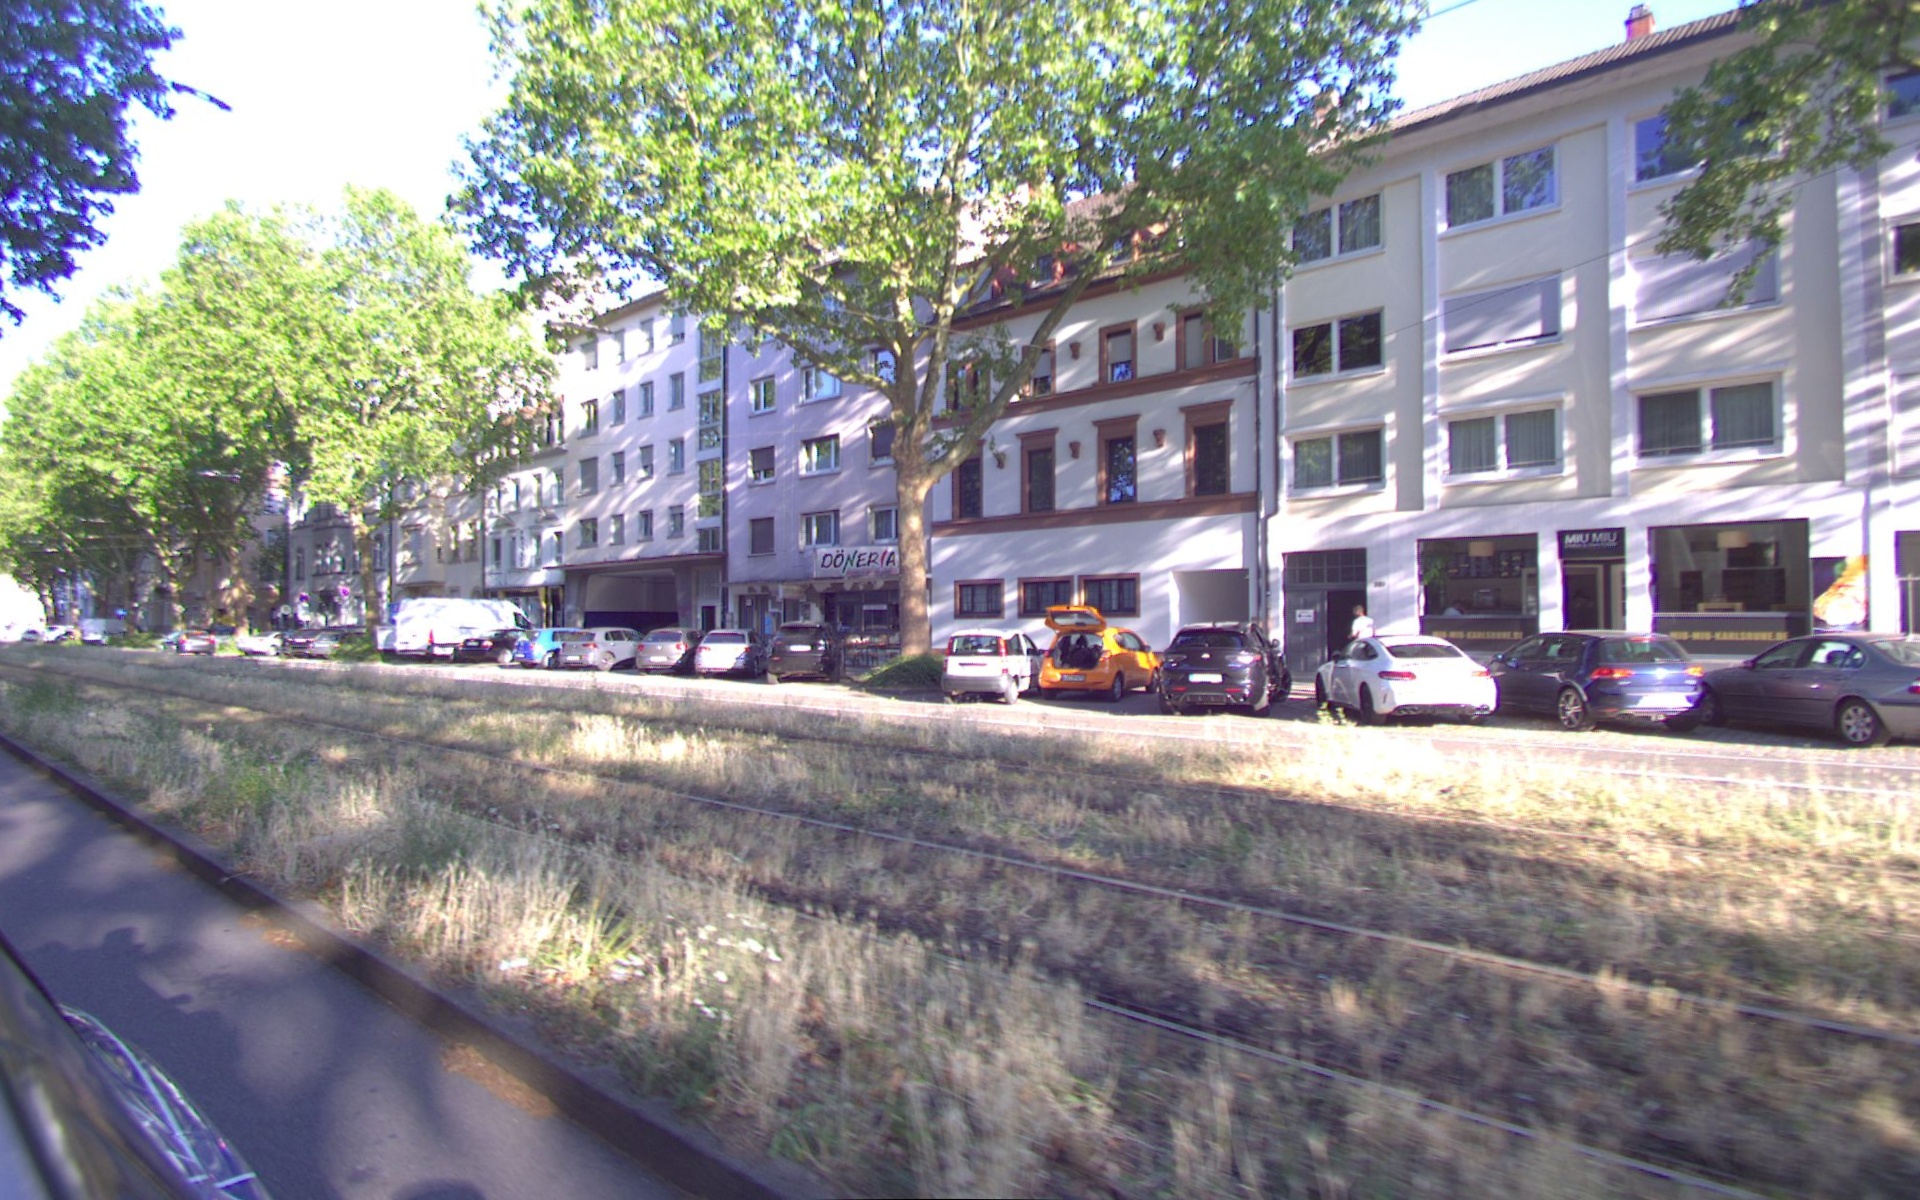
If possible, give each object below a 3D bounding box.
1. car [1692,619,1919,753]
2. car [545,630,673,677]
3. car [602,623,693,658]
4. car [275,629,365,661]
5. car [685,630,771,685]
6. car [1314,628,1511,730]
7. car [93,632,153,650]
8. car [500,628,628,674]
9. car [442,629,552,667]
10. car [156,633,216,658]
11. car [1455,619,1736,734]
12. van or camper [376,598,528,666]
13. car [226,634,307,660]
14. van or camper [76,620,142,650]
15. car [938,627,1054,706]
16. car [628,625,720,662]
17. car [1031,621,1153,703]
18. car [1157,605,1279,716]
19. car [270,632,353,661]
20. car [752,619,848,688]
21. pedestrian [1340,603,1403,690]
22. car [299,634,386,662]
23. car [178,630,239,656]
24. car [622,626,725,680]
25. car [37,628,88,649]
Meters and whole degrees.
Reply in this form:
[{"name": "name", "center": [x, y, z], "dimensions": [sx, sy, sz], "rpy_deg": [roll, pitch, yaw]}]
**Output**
[{"name": "car", "center": [12.132, 1.049, 13.560], "dimensions": [1.698, 1.452, 3.999], "rpy_deg": [-1, 0, 0]}, {"name": "car", "center": [-12.067, 1.808, 35.069], "dimensions": [1.941, 1.503, 3.962], "rpy_deg": [-1, -2, 27]}, {"name": "car", "center": [-15.728, 2.021, 51.125], "dimensions": [1.998, 1.553, 3.948], "rpy_deg": [-1, 0, 39]}, {"name": "car", "center": [-33.736, 2.426, 53.501], "dimensions": [1.912, 1.605, 4.154], "rpy_deg": [0, -4, 4]}, {"name": "car", "center": [-6.837, 1.652, 30.194], "dimensions": [1.884, 1.396, 4.003], "rpy_deg": [-1, -1, -4]}, {"name": "car", "center": [7.415, 1.225, 17.054], "dimensions": [1.700, 1.343, 4.199], "rpy_deg": [-1, 0, 5]}, {"name": "car", "center": [-73.720, 3.612, 89.227], "dimensions": [1.710, 1.256, 3.992], "rpy_deg": [-1, 1, 7]}, {"name": "car", "center": [-14.336, 1.810, 36.809], "dimensions": [1.855, 1.431, 3.950], "rpy_deg": [-1, 0, 37]}, {"name": "car", "center": [-19.113, 1.964, 41.992], "dimensions": [1.984, 1.502, 3.974], "rpy_deg": [-1, -2, 19]}, {"name": "car", "center": [-44.713, 2.609, 58.445], "dimensions": [4.481, 1.400, 1.801], "rpy_deg": [-2, -4, 41]}, {"name": "car", "center": [9.772, 1.097, 15.998], "dimensions": [1.776, 1.452, 4.001], "rpy_deg": [-1, 0, -2]}, {"name": "van or camper", "center": [-21.466, 1.359, 43.140], "dimensions": [2.163, 2.666, 5.927], "rpy_deg": [-1, -2, 20]}, {"name": "car", "center": [-39.923, 2.673, 58.385], "dimensions": [1.806, 1.400, 3.669], "rpy_deg": [-1, -2, 10]}, {"name": "van or camper", "center": [-76.011, 3.087, 90.463], "dimensions": [2.171, 2.418, 4.363], "rpy_deg": [-1, 1, 1]}, {"name": "car", "center": [0.890, 1.365, 22.142], "dimensions": [1.643, 1.460, 4.343], "rpy_deg": [-1, -1, 14]}, {"name": "car", "center": [-13.932, 2.106, 49.466], "dimensions": [1.904, 1.733, 3.947], "rpy_deg": [-1, -2, 40]}, {"name": "car", "center": [2.992, 1.285, 22.210], "dimensions": [1.764, 1.490, 3.972], "rpy_deg": [-1, 0, 21]}, {"name": "car", "center": [4.848, 1.121, 18.994], "dimensions": [1.976, 1.800, 4.342], "rpy_deg": [0, -3, 15]}, {"name": "car", "center": [-35.897, 2.610, 56.160], "dimensions": [1.803, 1.545, 3.993], "rpy_deg": [0, -3, 5]}, {"name": "car", "center": [-4.254, 1.389, 27.539], "dimensions": [1.972, 1.673, 3.999], "rpy_deg": [-1, -1, 0]}, {"name": "pedestrian", "center": [9.265, 1.031, 22.809], "dimensions": [0.887, 1.914, 0.954], "rpy_deg": [0, -1, -16]}, {"name": "car", "center": [-31.237, 2.445, 51.363], "dimensions": [1.779, 1.368, 4.001], "rpy_deg": [0, -3, 4]}, {"name": "car", "center": [-51.492, 2.927, 69.420], "dimensions": [1.703, 1.666, 4.007], "rpy_deg": [-1, -2, -9]}, {"name": "car", "center": [-9.043, 1.643, 32.261], "dimensions": [1.735, 1.433, 3.992], "rpy_deg": [-1, 0, 7]}, {"name": "car", "center": [-94.835, 4.058, 107.001], "dimensions": [1.971, 2.029, 4.001], "rpy_deg": [-1, 0, -1]}]
